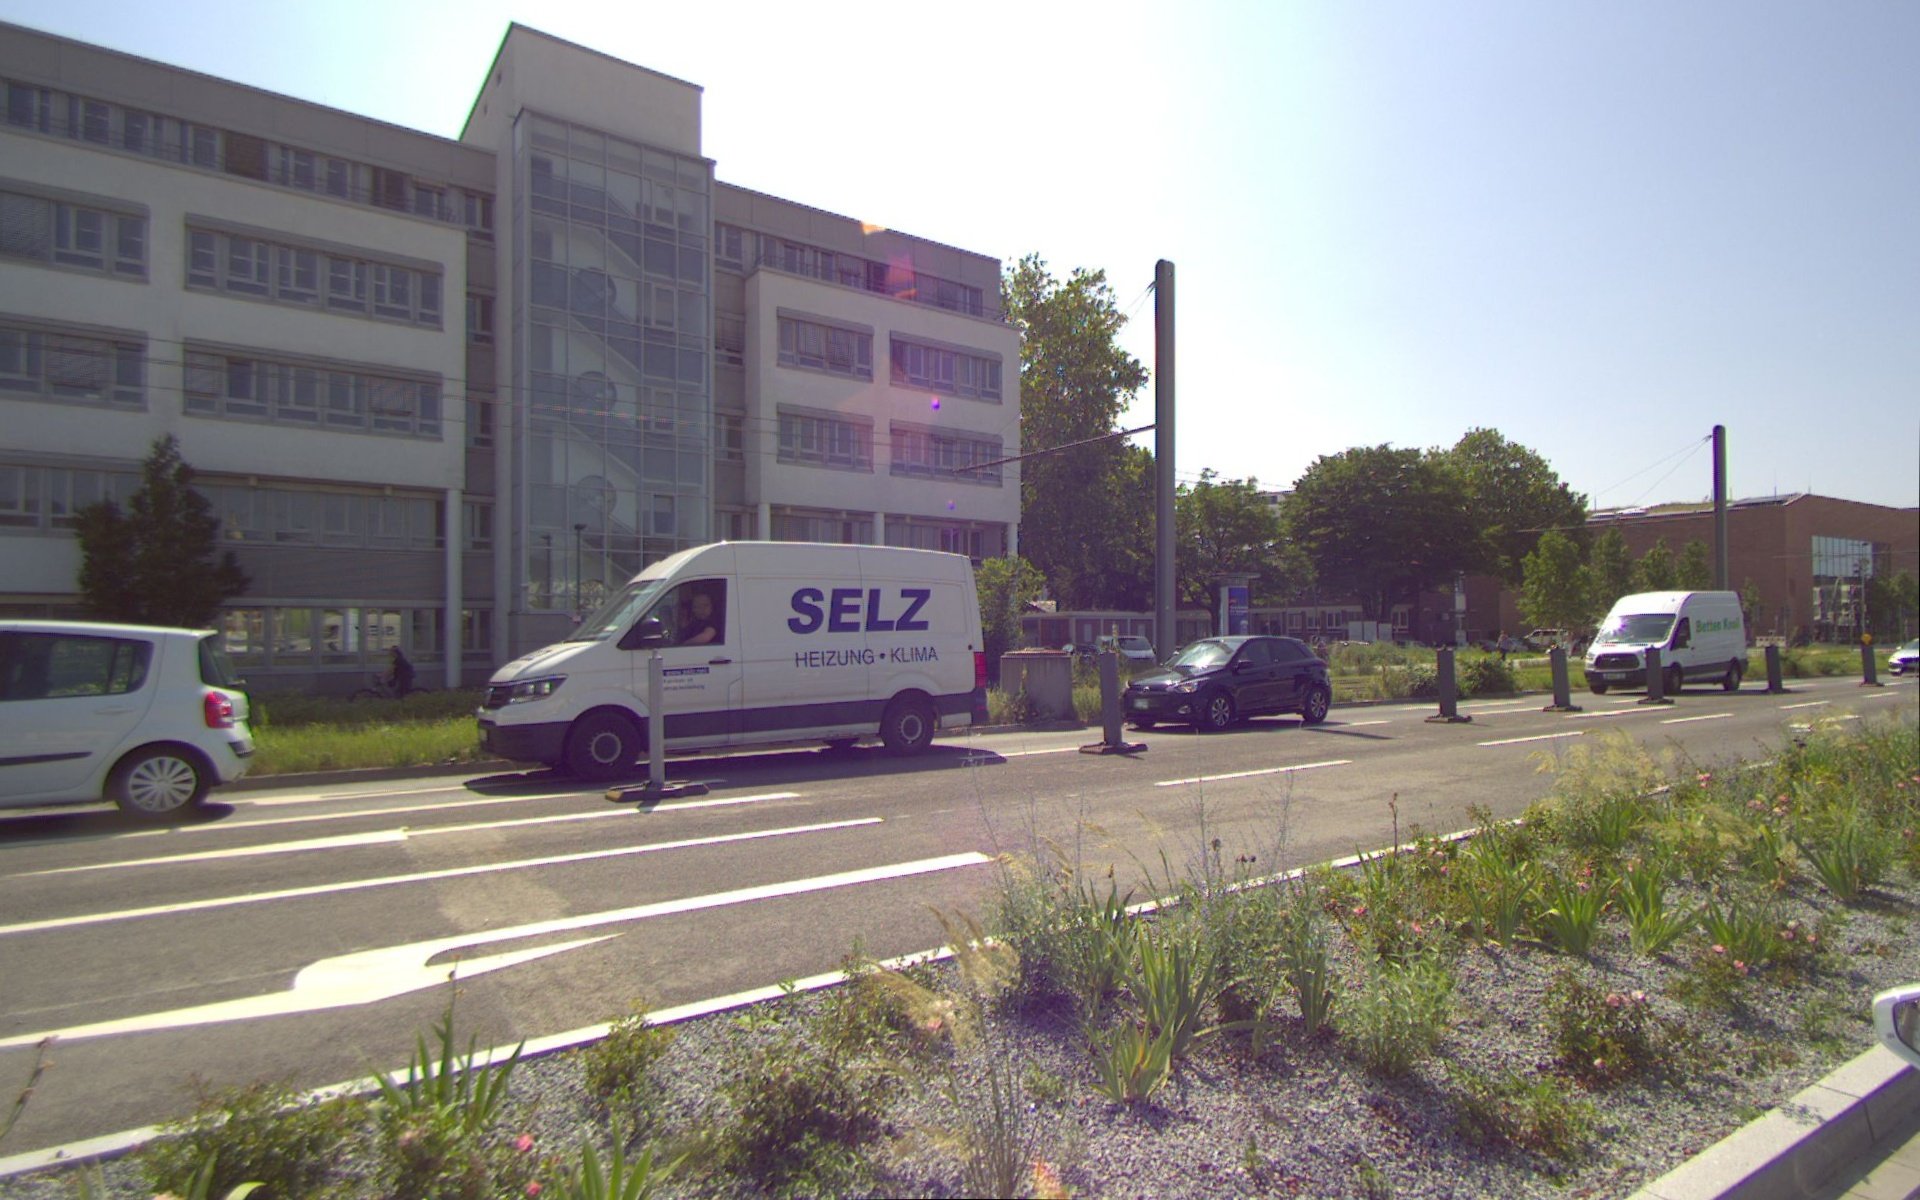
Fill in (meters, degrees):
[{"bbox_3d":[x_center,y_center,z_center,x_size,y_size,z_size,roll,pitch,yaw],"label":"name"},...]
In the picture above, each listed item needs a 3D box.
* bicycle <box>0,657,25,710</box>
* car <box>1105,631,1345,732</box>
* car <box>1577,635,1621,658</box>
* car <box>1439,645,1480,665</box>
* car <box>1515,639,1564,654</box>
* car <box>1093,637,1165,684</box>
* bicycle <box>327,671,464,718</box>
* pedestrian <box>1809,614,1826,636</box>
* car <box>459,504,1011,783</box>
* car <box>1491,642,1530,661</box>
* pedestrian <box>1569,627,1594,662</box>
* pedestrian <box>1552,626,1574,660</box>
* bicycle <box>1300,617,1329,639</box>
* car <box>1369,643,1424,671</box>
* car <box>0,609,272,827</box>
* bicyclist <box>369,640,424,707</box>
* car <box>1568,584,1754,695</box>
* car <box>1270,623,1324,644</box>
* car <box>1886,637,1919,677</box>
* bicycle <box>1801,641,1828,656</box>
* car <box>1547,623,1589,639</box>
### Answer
[{"bbox_3d":[-24.056,2.092,25.339,0.434,1.205,1.636,1,0,-35],"label":"bicycle"},{"bbox_3d":[4.448,1.291,16.623,4.152,1.476,1.535,2,-4,-36],"label":"car"},{"bbox_3d":[51.892,3.786,81.505,3.901,1.784,1.687,2,-2,-36],"label":"car"},{"bbox_3d":[39.235,4.285,78.904,3.757,1.476,1.525,2,-2,-40],"label":"car"},{"bbox_3d":[60.271,4.826,104.541,1.977,1.421,3.968,2,-2,-30],"label":"car"},{"bbox_3d":[8.321,2.954,49.994,2.075,2.208,5.069,1,-2,-9],"label":"car"},{"bbox_3d":[-13.630,2.264,24.308,2.803,1.031,0.749,2,-2,-35],"label":"bicycle"},{"bbox_3d":[73.530,2.162,86.147,1.094,1.871,0.808,1,-1,-30],"label":"pedestrian"},{"bbox_3d":[-2.437,0.548,11.999,6.132,2.612,2.018,2,-5,-35],"label":"car"},{"bbox_3d":[46.783,4.371,85.337,3.751,1.476,1.528,1,-1,-36],"label":"car"},{"bbox_3d":[36.714,2.605,59.372,0.900,2.040,0.977,1,-1,-33],"label":"pedestrian"},{"bbox_3d":[36.197,2.580,60.292,0.973,2.040,0.834,1,-1,-33],"label":"pedestrian"},{"bbox_3d":[16.951,1.339,47.982,1.541,0.999,0.457,1,1,-33],"label":"bicycle"},{"bbox_3d":[26.885,3.483,61.827,3.609,1.612,1.752,1,0,-41],"label":"car"},{"bbox_3d":[-7.638,0.887,7.638,3.939,1.561,1.570,2,-5,-36],"label":"car"},{"bbox_3d":[-13.632,1.768,24.307,1.066,1.559,0.749,2,-2,-35],"label":"bicyclist"},{"bbox_3d":[19.290,1.105,27.553,5.922,2.775,2.066,2,-4,-33],"label":"car"},{"bbox_3d":[26.565,2.651,79.252,3.692,1.476,1.537,1,-2,38],"label":"car"},{"bbox_3d":[37.278,2.170,38.409,4.420,1.462,1.665,2,-4,-33],"label":"car"},{"bbox_3d":[85.229,4.842,100.212,2.029,1.472,0.536,-1,-1,44],"label":"bicycle"},{"bbox_3d":[66.111,3.364,109.272,1.677,1.712,3.520,1,-1,-35],"label":"car"}]
